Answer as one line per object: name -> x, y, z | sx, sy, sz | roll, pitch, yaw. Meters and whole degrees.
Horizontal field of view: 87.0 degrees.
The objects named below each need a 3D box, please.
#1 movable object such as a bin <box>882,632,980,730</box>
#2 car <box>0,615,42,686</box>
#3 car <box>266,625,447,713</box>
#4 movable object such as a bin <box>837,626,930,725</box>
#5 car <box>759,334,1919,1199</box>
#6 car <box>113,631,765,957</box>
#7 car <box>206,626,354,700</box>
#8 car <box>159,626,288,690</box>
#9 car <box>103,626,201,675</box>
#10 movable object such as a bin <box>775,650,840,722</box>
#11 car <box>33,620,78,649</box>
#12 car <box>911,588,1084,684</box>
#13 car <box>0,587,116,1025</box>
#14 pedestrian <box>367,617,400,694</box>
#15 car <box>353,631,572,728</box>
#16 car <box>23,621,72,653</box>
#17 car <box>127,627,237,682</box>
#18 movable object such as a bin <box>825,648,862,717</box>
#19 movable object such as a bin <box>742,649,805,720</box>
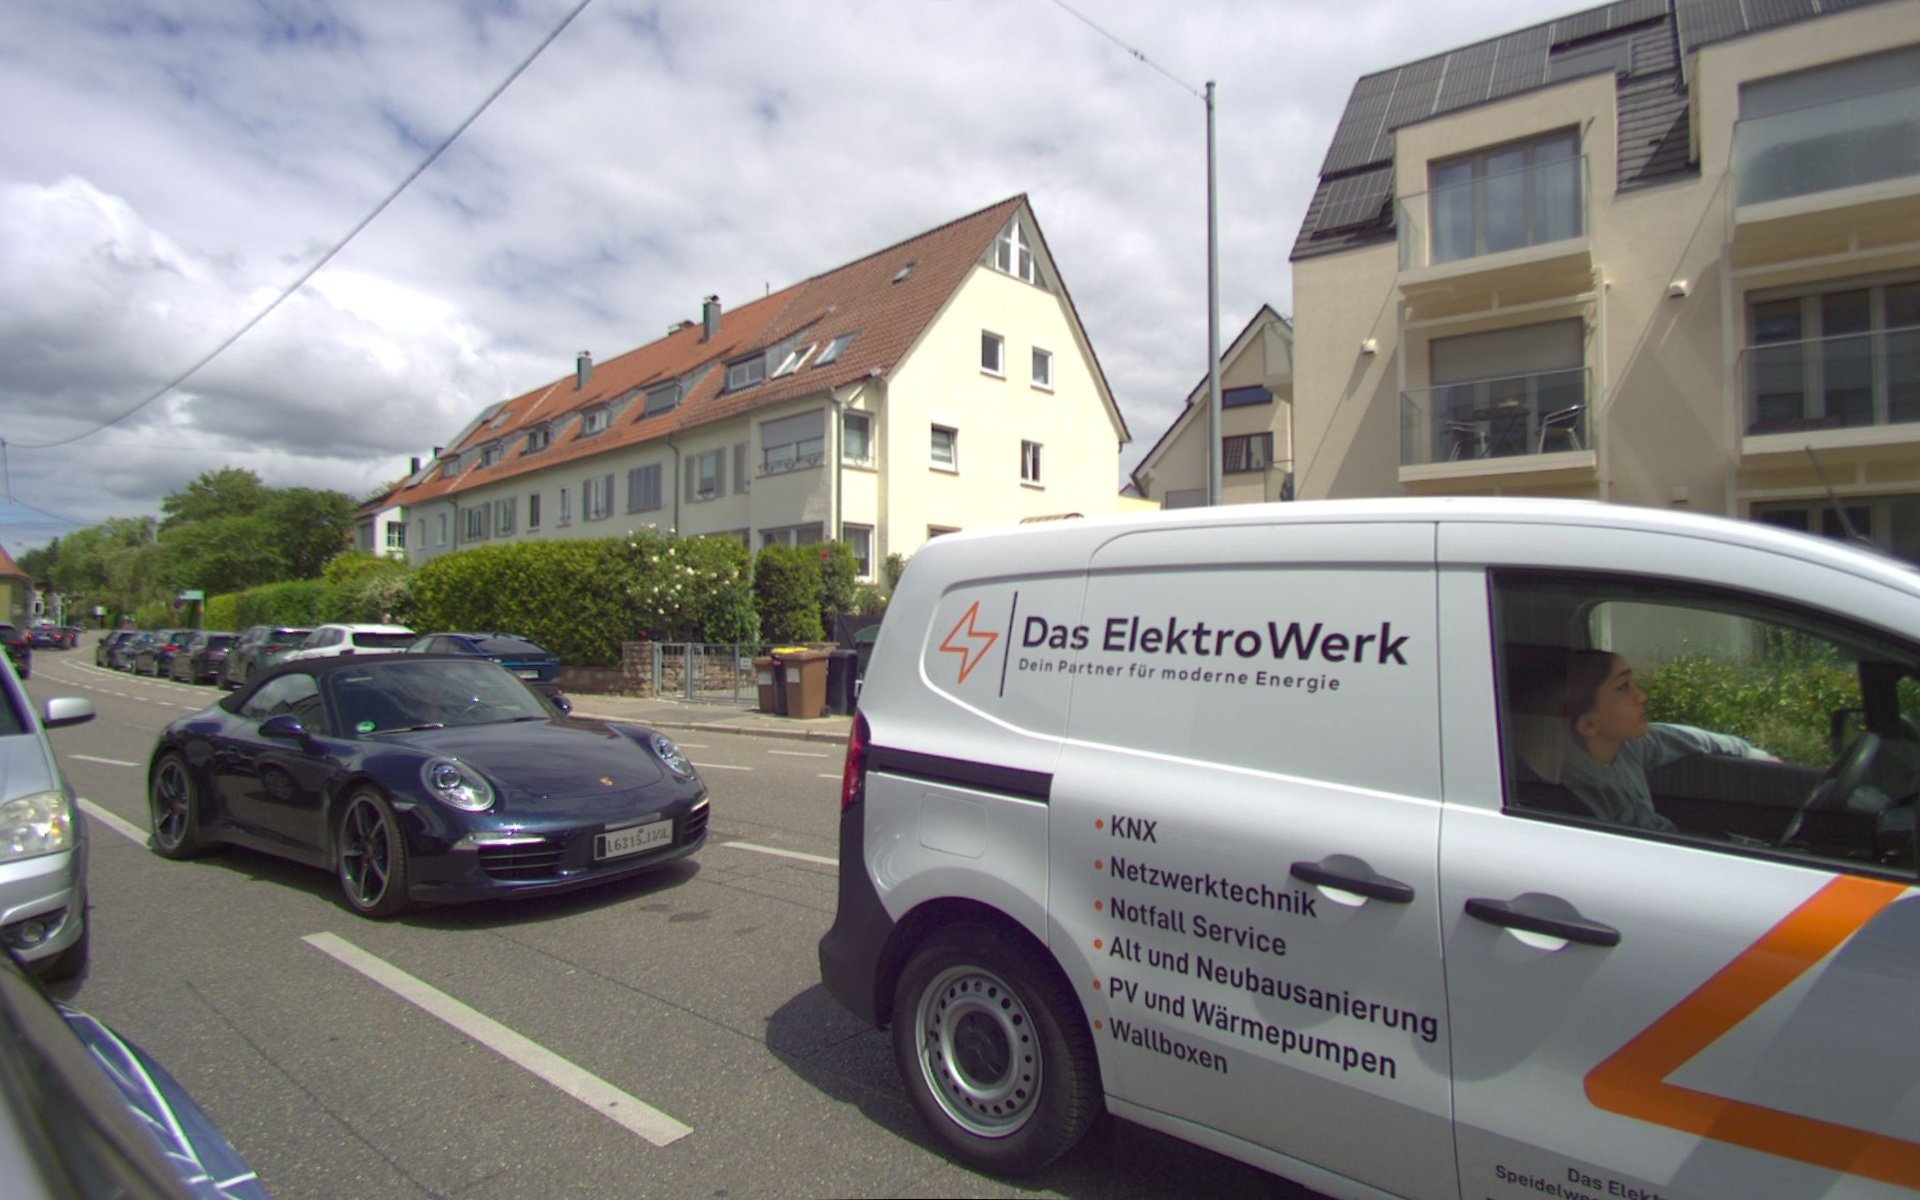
movable object such as a bin -> -0.424, 1.163, 14.992 | 0.980, 1.373, 1.078 | -2, -2, 40
car -> -27.750, 1.406, 28.879 | 4.069, 1.929, 1.972 | -2, -2, 43
car -> -12.775, 1.364, 21.329 | 4.450, 1.645, 1.973 | -1, -2, 41
movable object such as a bin -> -1.189, 1.144, 15.767 | 0.980, 1.457, 1.078 | -2, -2, 40
car -> 1.637, 0.537, 2.484 | 4.414, 1.825, 1.798 | -1, -2, 39
car -> -3.298, 0.888, 6.204 | 4.032, 1.374, 1.796 | -1, -2, 33
car -> -16.722, 1.468, 24.812 | 4.234, 1.645, 1.973 | -1, -2, 41
car -> -20.700, 1.578, 28.402 | 4.234, 1.645, 1.973 | -1, -3, 41
car -> -28.762, 1.748, 35.990 | 4.234, 1.645, 1.973 | -1, -2, 41
movable object such as a bin -> -2.407, 1.336, 15.973 | 0.752, 1.073, 0.693 | 1, -2, -42
car -> -60.741, 2.297, 68.024 | 1.968, 1.929, 4.077 | 1, -2, -39
car -> 0.932, 0.798, 23.467 | 1.999, 2.029, 3.946 | -1, -1, 40
car -> -5.357, 0.780, 4.566 | 3.999, 1.587, 1.751 | -1, -2, 41
pedestrian -> -14.013, 1.341, 24.614 | 0.511, 1.829, 0.526 | -1, -2, 36
car -> -8.982, 1.317, 18.132 | 4.447, 1.513, 1.796 | -1, -2, 38
car -> -56.162, 2.245, 62.368 | 1.968, 1.929, 4.077 | 1, -2, -39
car -> -24.870, 1.681, 32.295 | 4.234, 1.645, 1.973 | -1, -2, 41
movable object such as a bin -> -1.881, 1.331, 16.377 | 0.516, 1.073, 0.656 | 0, -1, 2
movable object such as a bin -> -3.029, 1.353, 16.422 | 0.752, 1.073, 0.693 | 1, -2, -42
